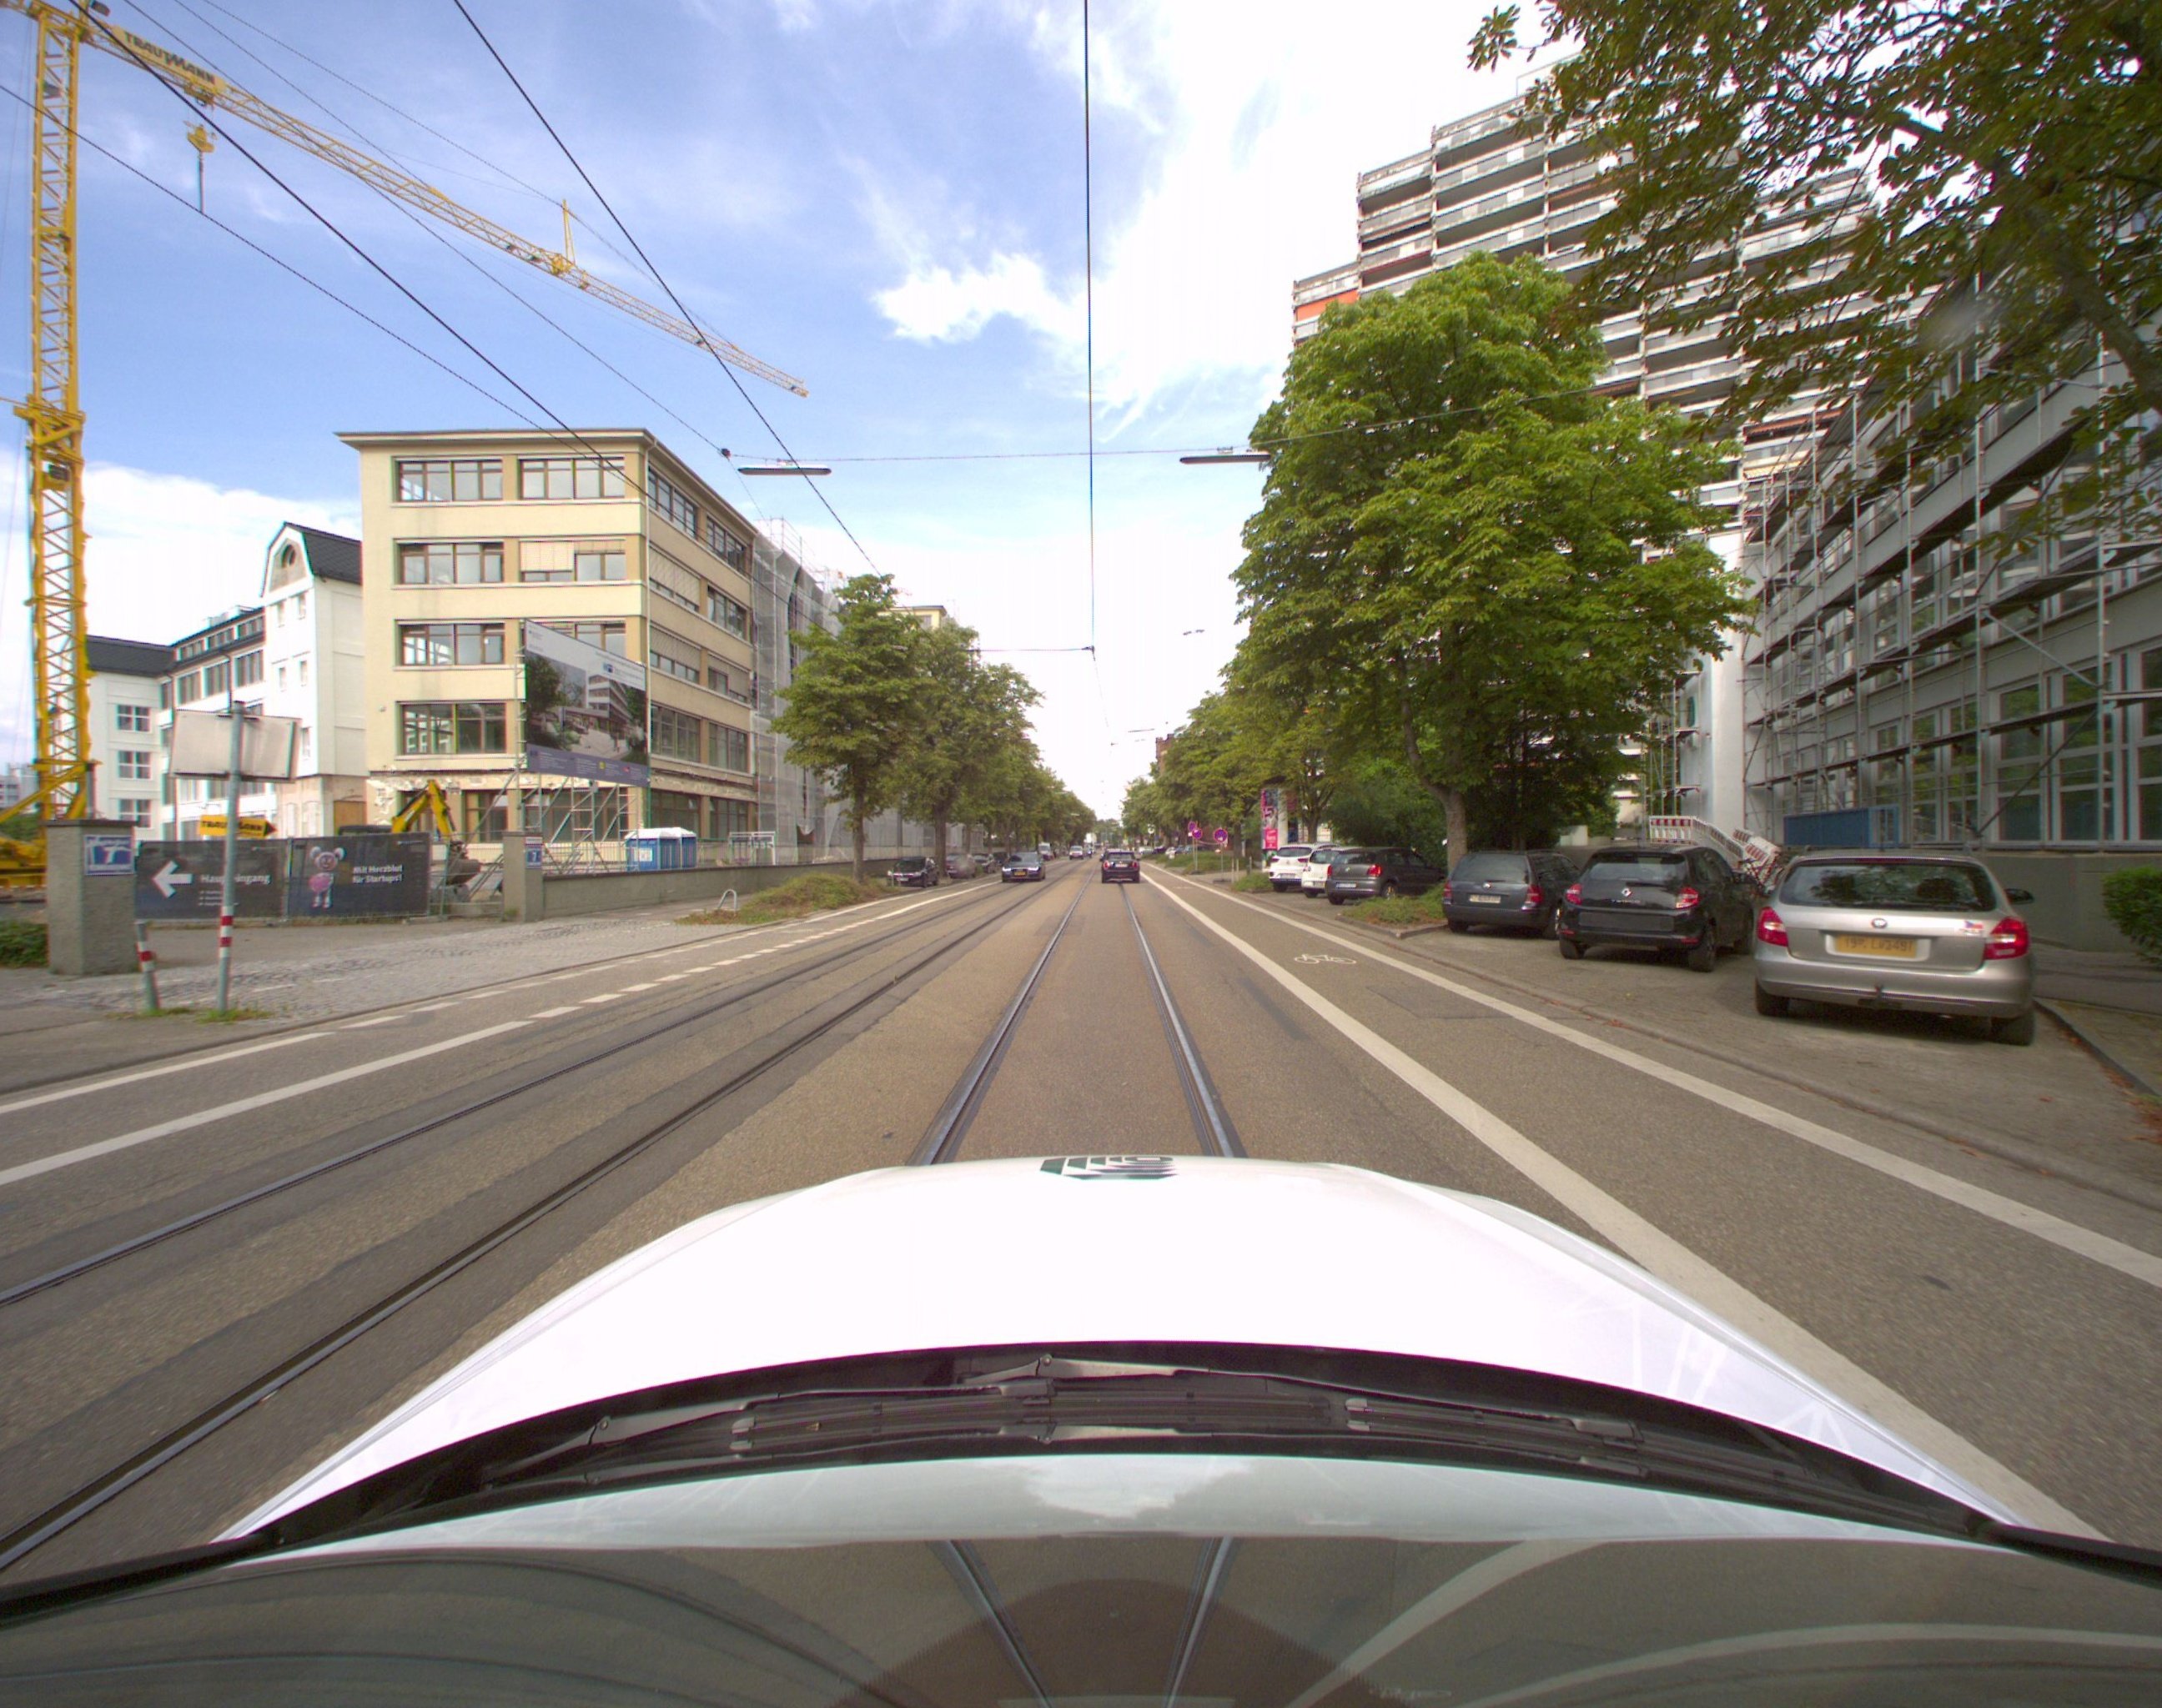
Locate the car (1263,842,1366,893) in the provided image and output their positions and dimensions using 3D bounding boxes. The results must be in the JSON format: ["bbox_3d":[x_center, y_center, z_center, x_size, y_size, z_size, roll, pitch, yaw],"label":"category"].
[{"bbox_3d":[7.801,0.404,27.160,3.463,1.573,1.543,-1,0,-38],"label":"car"}]

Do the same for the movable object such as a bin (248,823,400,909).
[{"bbox_3d":[-19.118,0.280,20.671,1.977,2.067,1.962,-1,0,4],"label":"movable object such as a bin"}]

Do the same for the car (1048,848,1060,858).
[{"bbox_3d":[-4.560,-0.125,136.647,1.796,1.583,4.032,-2,0,1],"label":"car"}]

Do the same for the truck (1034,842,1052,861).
[{"bbox_3d":[-5.180,-0.344,111.064,2.063,2.470,4.900,-2,0,1],"label":"truck"}]

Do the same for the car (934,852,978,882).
[{"bbox_3d":[-7.273,0.735,47.772,1.796,1.583,4.032,-2,0,1],"label":"car"}]

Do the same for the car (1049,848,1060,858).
[{"bbox_3d":[-4.643,-0.152,142.557,1.796,1.583,4.032,-2,0,1],"label":"car"}]

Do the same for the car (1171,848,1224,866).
[{"bbox_3d":[9.406,0.250,65.789,3.976,1.425,1.884,-1,0,-2],"label":"car"}]

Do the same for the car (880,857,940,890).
[{"bbox_3d":[-7.760,0.860,37.383,1.796,1.374,4.032,-2,0,1],"label":"car"}]

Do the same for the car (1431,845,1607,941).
[{"bbox_3d":[7.745,0.583,14.254,3.761,1.458,1.620,0,0,-44],"label":"car"}]

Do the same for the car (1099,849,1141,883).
[{"bbox_3d":[1.723,0.506,37.110,1.787,1.423,4.001,0,0,1],"label":"car"}]

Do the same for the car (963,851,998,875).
[{"bbox_3d":[-6.955,0.578,56.642,1.796,1.583,4.032,-2,0,1],"label":"car"}]

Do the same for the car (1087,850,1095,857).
[{"bbox_3d":[2.367,-0.155,197.590,1.796,1.622,4.485,-2,0,1],"label":"car"}]

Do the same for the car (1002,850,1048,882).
[{"bbox_3d":[-2.704,0.551,40.244,1.828,1.448,4.554,-1,0,1],"label":"car"}]

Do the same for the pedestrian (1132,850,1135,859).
[{"bbox_3d":[9.710,0.013,150.630,0.723,1.646,0.767,0,0,3],"label":"pedestrian"}]

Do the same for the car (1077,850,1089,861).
[{"bbox_3d":[0.295,0.206,129.708,1.796,1.622,4.485,-2,0,1],"label":"car"}]

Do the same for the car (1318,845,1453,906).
[{"bbox_3d":[7.886,0.495,20.989,3.552,1.442,1.606,-1,0,-38],"label":"car"}]

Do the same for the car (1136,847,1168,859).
[{"bbox_3d":[9.026,-0.148,103.751,3.976,1.508,1.884,-1,0,-2],"label":"car"}]

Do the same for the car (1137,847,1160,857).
[{"bbox_3d":[12.461,-0.407,149.898,3.976,1.910,1.999,0,0,-2],"label":"car"}]

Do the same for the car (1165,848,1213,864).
[{"bbox_3d":[9.622,0.185,72.690,3.976,1.425,1.884,-1,0,-2],"label":"car"}]

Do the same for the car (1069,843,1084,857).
[{"bbox_3d":[-0.574,-0.509,110.380,1.796,1.823,4.485,-2,0,1],"label":"car"}]

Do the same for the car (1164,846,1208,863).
[{"bbox_3d":[10.017,0.034,78.090,3.976,1.627,1.884,-1,0,-2],"label":"car"}]

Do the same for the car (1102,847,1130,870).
[{"bbox_3d":[2.363,0.274,55.832,1.787,1.470,4.002,1,0,2],"label":"car"}]

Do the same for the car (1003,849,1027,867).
[{"bbox_3d":[-6.280,0.372,77.610,1.796,1.583,4.032,-2,0,1],"label":"car"}]

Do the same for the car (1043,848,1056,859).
[{"bbox_3d":[-4.745,-0.019,123.544,1.796,1.583,4.032,-2,0,1],"label":"car"}]

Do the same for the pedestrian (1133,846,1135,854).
[{"bbox_3d":[13.268,-1.072,203.134,0.515,2.013,0.480,0,0,5],"label":"pedestrian"}]

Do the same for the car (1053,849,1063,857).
[{"bbox_3d":[-4.351,-0.211,154.310,1.796,1.583,4.032,-2,0,1],"label":"car"}]

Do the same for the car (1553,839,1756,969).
[{"bbox_3d":[8.132,0.578,11.422,3.761,1.522,1.620,0,0,-44],"label":"car"}]

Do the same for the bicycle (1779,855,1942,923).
[{"bbox_3d":[13.580,0.617,14.261,1.947,1.128,0.542,-2,-1,31],"label":"bicycle"}]

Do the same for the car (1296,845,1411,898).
[{"bbox_3d":[8.091,0.465,24.079,3.463,1.442,1.543,-1,0,-38],"label":"car"}]

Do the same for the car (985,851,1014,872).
[{"bbox_3d":[-6.713,0.584,67.377,1.796,1.583,4.032,-2,0,1],"label":"car"}]

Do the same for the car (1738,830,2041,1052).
[{"bbox_3d":[7.366,0.588,7.465,3.761,1.522,1.620,0,0,-44],"label":"car"}]
